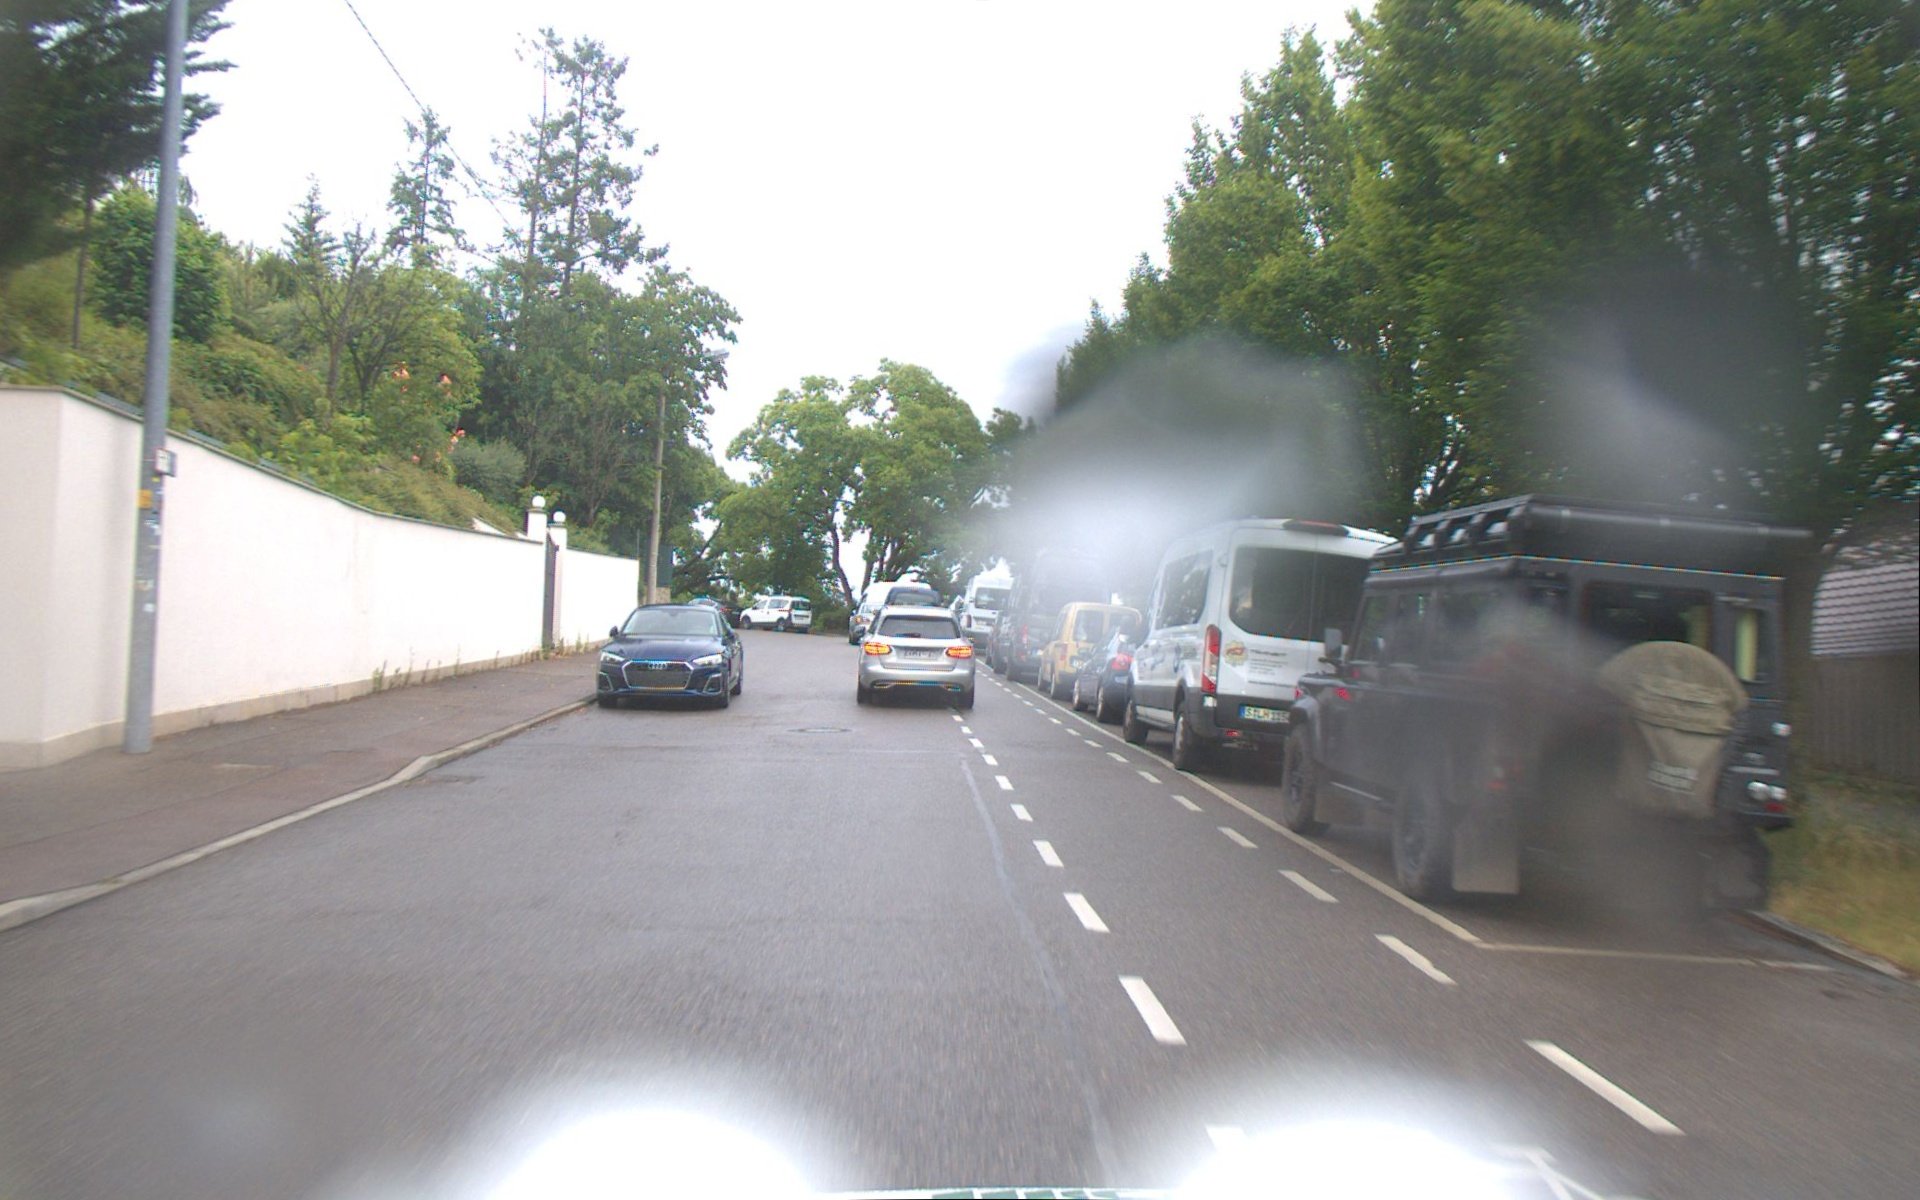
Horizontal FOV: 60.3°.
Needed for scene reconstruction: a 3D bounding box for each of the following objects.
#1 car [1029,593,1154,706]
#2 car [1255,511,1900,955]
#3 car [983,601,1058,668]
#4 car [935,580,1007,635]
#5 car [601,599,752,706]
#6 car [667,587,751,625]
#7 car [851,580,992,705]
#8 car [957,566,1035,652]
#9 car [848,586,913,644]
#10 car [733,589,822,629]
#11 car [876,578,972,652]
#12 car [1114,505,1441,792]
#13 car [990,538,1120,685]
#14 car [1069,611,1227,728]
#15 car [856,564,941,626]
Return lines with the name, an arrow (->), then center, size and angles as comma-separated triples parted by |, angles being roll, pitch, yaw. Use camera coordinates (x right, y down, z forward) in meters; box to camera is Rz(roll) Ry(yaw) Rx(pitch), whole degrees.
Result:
car -> 2.420, 0.872, 31.408 | 1.693, 1.816, 4.273 | 6, 0, -3
car -> 3.520, 0.664, 10.725 | 1.954, 2.087, 5.118 | 3, 0, -3
car -> 1.556, 0.881, 43.852 | 1.552, 1.554, 3.583 | 4, 0, -4
car -> 0.393, 0.254, 67.188 | 2.027, 1.993, 4.486 | 4, 0, -10
car -> -4.062, 0.706, 24.276 | 1.714, 1.381, 4.422 | 0, 0, -4
car -> -13.623, 0.315, 89.589 | 4.588, 1.727, 1.959 | 4, 0, 42
car -> -0.669, 0.601, 25.701 | 1.985, 1.738, 4.213 | 1, 0, -3
car -> 1.108, 0.265, 53.474 | 2.023, 2.537, 4.757 | 4, 0, -3
car -> -2.616, 0.517, 55.356 | 1.953, 1.738, 3.999 | 3, -1, -1
car -> -9.498, 0.447, 85.996 | 4.411, 1.727, 1.961 | 4, 0, 38
car -> -1.006, 0.395, 43.616 | 1.957, 1.738, 3.992 | 4, -1, -8
car -> 3.280, 0.450, 18.598 | 2.130, 2.536, 6.031 | 4, 0, -2
car -> 2.051, 0.216, 37.623 | 2.083, 2.937, 5.765 | 4, 0, -4
car -> 2.834, 1.014, 25.802 | 1.639, 1.483, 4.220 | 6, 0, -3
car -> -2.903, -0.247, 76.531 | 2.101, 2.570, 4.457 | 4, 0, -27
